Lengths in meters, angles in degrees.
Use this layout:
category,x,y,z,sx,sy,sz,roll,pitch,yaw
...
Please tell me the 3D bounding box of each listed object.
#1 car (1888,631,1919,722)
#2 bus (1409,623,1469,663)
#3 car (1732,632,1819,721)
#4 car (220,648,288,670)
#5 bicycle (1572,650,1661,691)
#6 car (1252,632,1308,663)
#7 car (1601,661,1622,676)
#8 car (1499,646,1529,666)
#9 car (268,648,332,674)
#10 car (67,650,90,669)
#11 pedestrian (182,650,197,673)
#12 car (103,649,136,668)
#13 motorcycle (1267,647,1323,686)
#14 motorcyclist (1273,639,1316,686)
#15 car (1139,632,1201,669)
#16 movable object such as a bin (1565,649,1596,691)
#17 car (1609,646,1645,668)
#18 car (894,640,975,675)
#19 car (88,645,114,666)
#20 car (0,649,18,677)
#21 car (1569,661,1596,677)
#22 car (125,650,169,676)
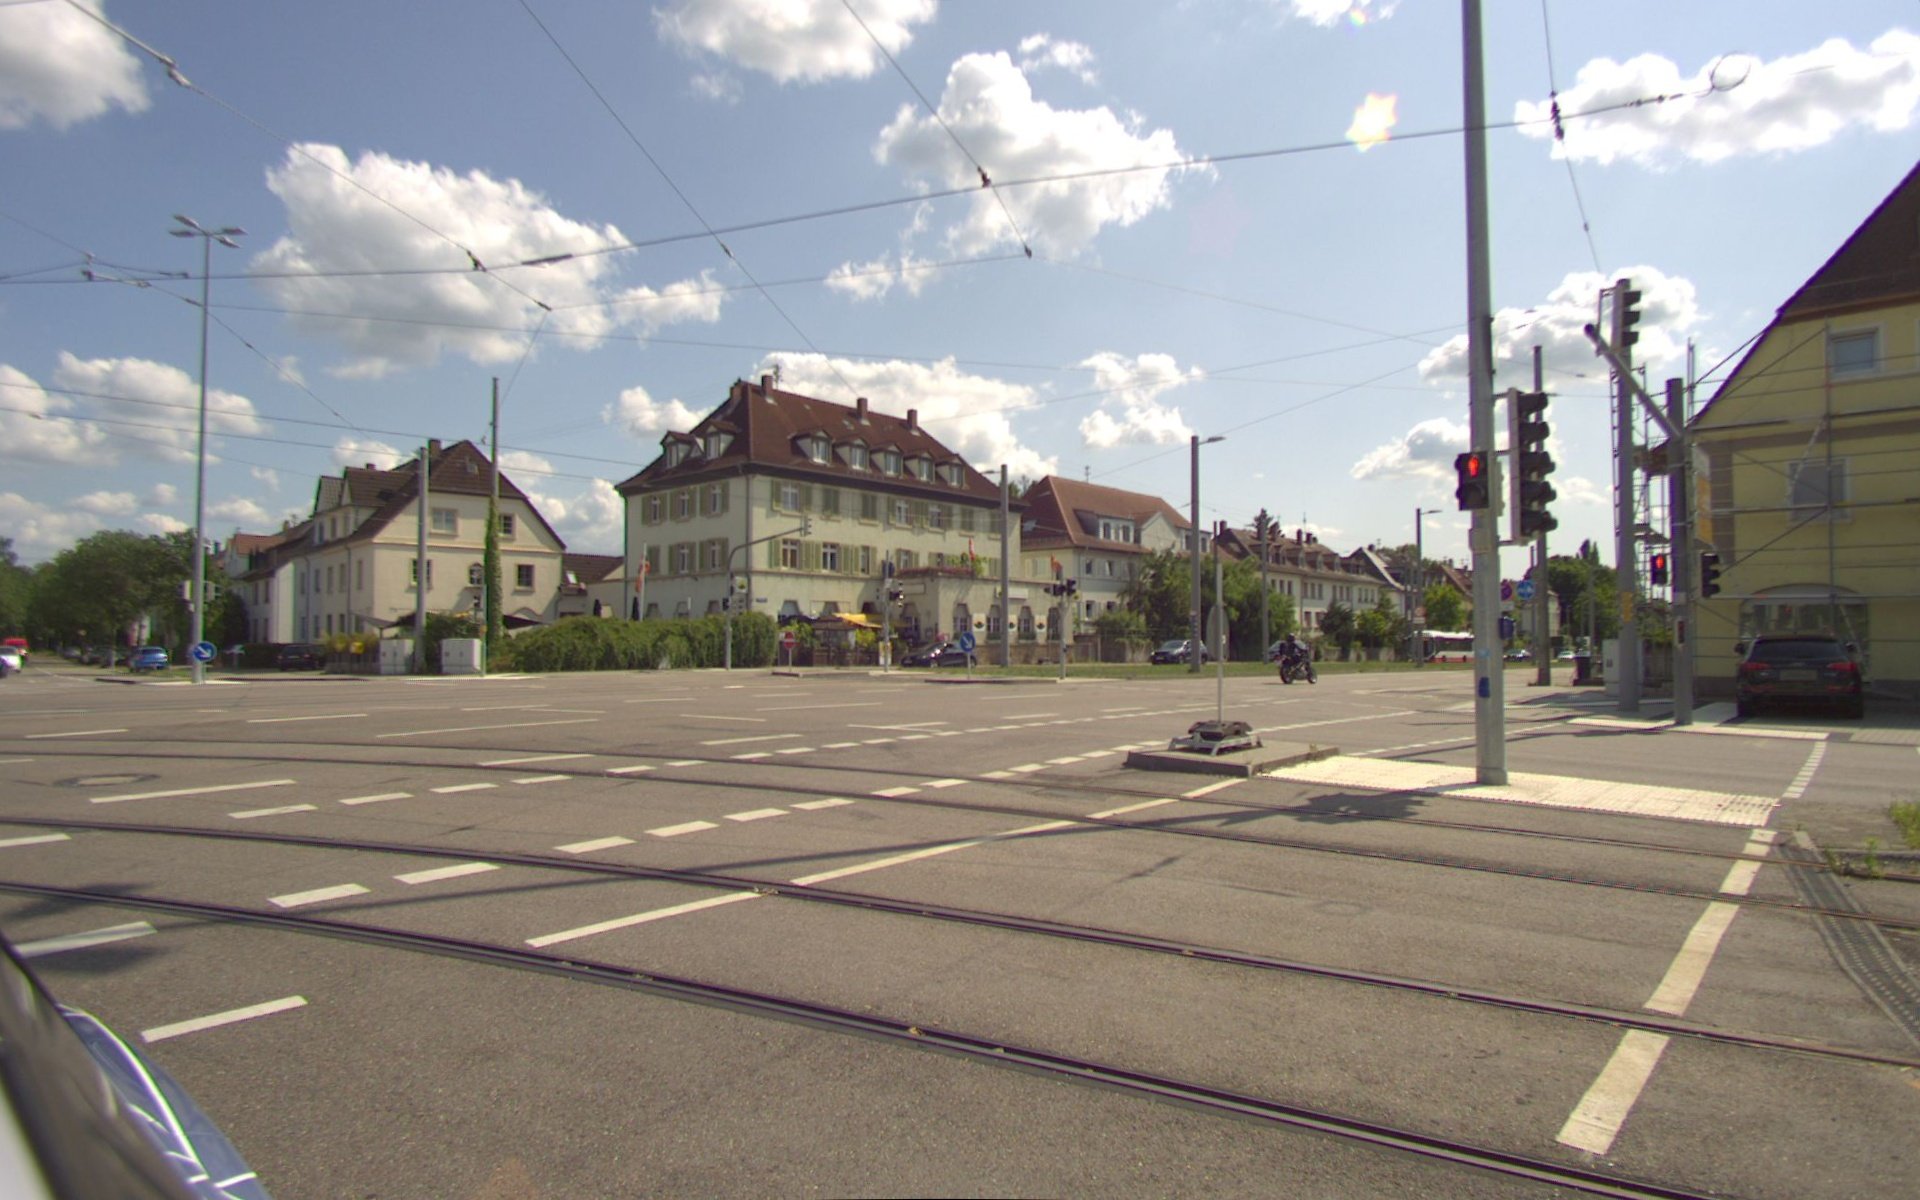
category,x,y,z,sx,sy,sz,roll,pitch,yaw
car,18.471,1.362,18.712,1.505,1.505,4.096,-2,-1,37
bus,47.919,4.293,100.924,2.399,3.806,11.860,-2,-3,40
car,16.280,1.453,20.309,1.177,1.505,4.096,-2,-1,37
car,-49.588,4.130,71.085,3.749,1.465,1.713,2,-4,-41
bicycle,22.980,2.437,35.468,0.764,1.366,2.460,1,-3,-43
car,21.937,3.250,69.343,3.939,2.029,2.002,2,-3,-43
car,94.036,9.845,146.053,1.999,2.029,3.945,-3,-4,41
car,59.499,5.972,108.647,1.999,2.029,3.946,-2,-3,40
car,-36.654,3.367,56.297,1.732,1.397,4.113,0,-3,-15
car,-81.095,5.467,93.077,1.539,1.667,3.255,2,-4,-41
pedestrian,-53.252,4.243,69.928,0.616,1.547,0.625,-2,-3,31
car,-60.559,4.193,72.870,1.684,1.306,3.923,2,-4,-41
motorcycle,10.629,2.094,32.091,0.843,1.136,2.326,-2,-2,41
motorcyclist,10.620,1.987,32.097,0.825,1.409,1.084,-8,-8,42
car,12.152,2.900,58.415,1.904,2.029,3.663,-2,-3,42
movable object such as a bin,19.330,2.178,31.508,0.682,1.270,0.674,-3,-3,42
car,64.158,5.486,97.312,3.939,2.029,2.002,3,-4,-43
car,-1.180,2.704,48.331,1.746,1.596,3.871,-3,-4,41
car,-70.061,4.517,82.526,1.539,1.667,3.578,2,-4,-41
car,-53.342,3.483,56.000,1.685,1.473,3.157,2,-4,-44
car,80.743,8.947,131.269,2.001,2.029,3.941,-3,-4,45
car,-48.085,3.695,59.841,1.685,1.473,3.156,3,-4,-45
